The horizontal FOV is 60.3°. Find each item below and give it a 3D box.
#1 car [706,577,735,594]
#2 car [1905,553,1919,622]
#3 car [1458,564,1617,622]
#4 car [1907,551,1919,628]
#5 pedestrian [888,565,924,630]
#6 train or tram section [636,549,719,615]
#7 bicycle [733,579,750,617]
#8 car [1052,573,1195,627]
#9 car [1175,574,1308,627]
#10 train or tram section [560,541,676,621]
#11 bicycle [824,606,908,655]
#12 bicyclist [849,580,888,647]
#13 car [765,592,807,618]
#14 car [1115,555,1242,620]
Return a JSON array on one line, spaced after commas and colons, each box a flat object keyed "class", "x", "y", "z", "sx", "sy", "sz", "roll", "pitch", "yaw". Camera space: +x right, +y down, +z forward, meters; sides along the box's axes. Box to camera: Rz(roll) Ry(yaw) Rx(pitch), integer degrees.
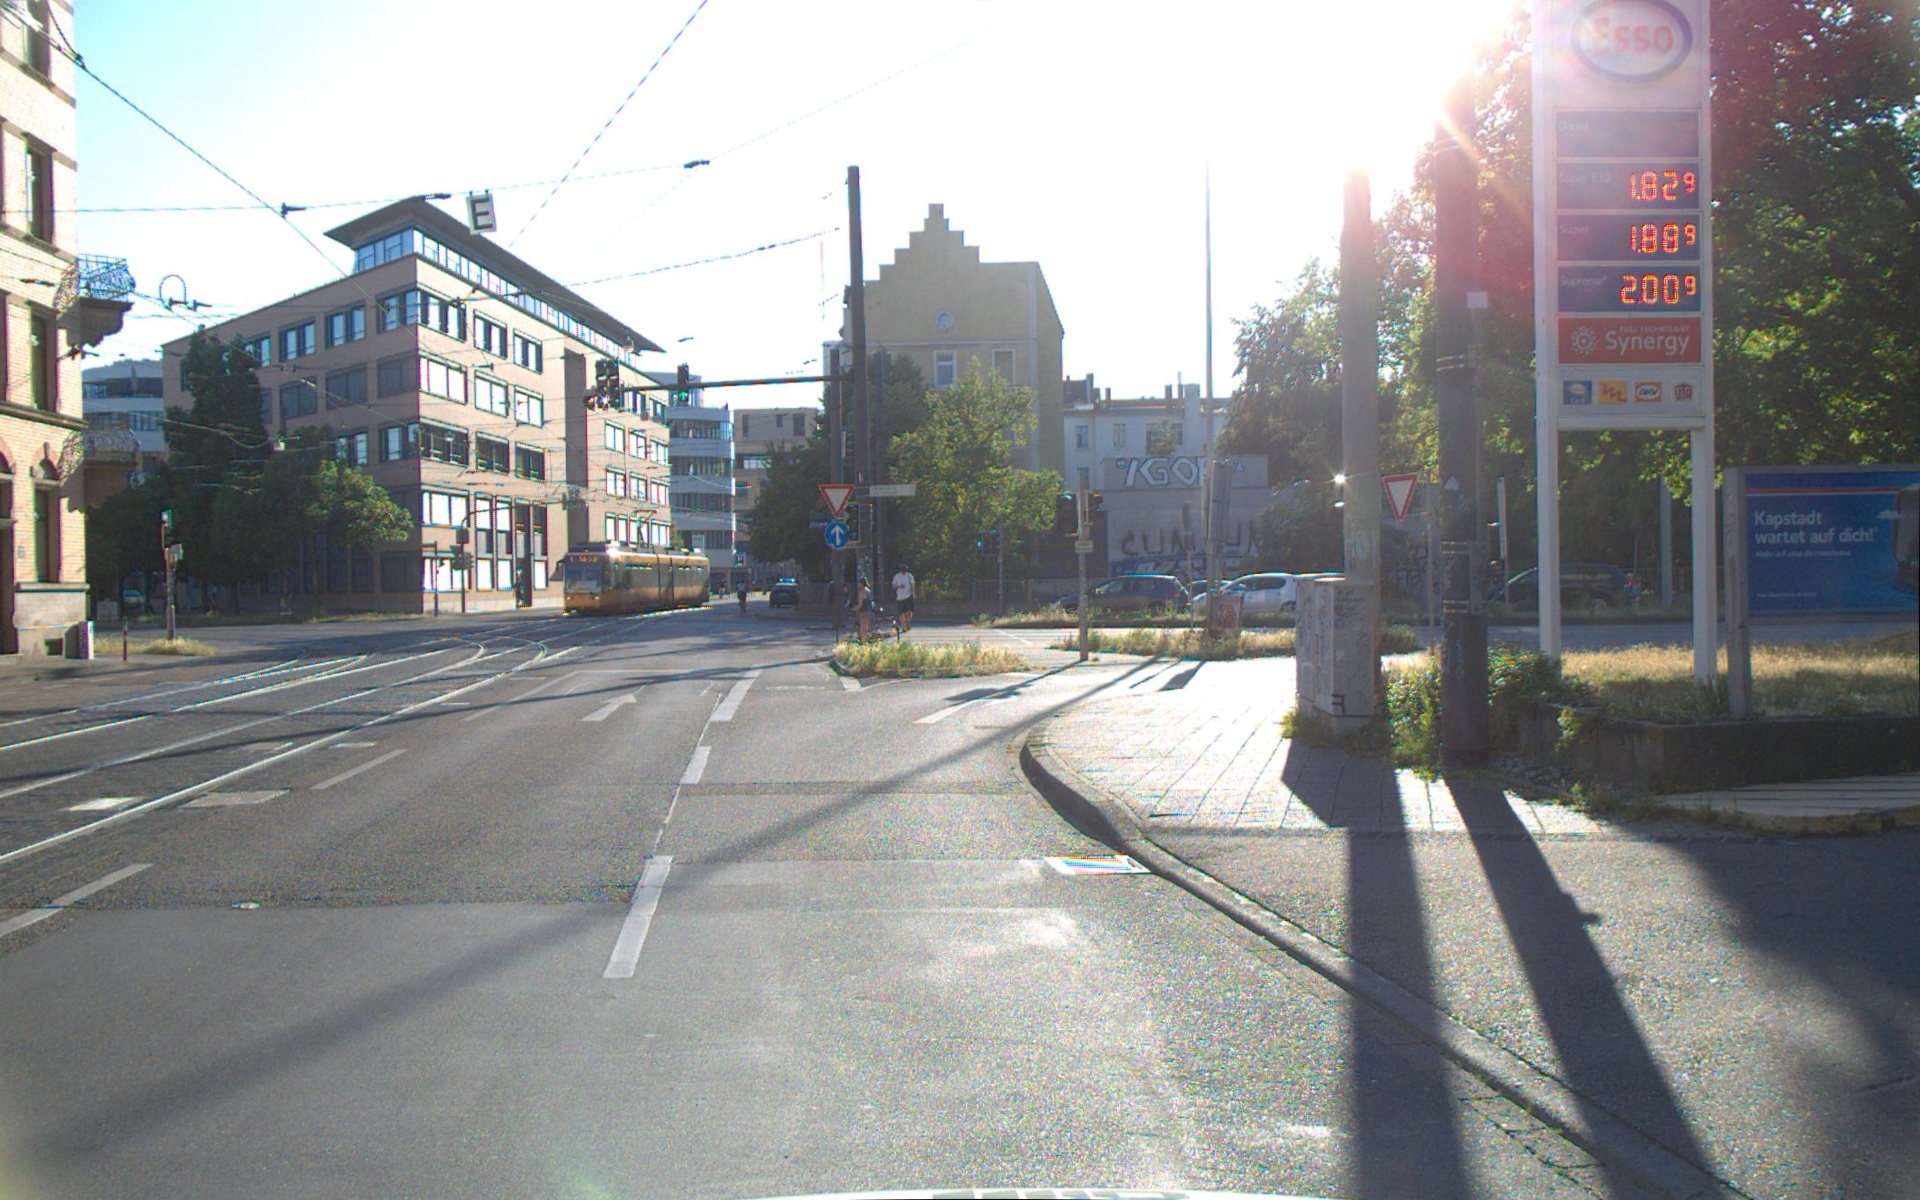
[{"class": "car", "x": -20.878, "y": -1.268, "z": 144.208, "sx": 1.757, "sy": 1.434, "sz": 4.001, "roll": -1, "pitch": 1, "yaw": 2}, {"class": "car", "x": 30.472, "y": -0.419, "z": 48.920, "sx": 3.902, "sy": 2.049, "sz": 1.936, "roll": -1, "pitch": 0, "yaw": 11}, {"class": "car", "x": 15.725, "y": -0.193, "z": 45.203, "sx": 3.902, "sy": 1.478, "sz": 1.688, "roll": -1, "pitch": 0, "yaw": 13}, {"class": "car", "x": 27.419, "y": -0.328, "z": 43.488, "sx": 3.902, "sy": 2.049, "sz": 1.936, "roll": -1, "pitch": 0, "yaw": 11}, {"class": "pedestrian", "x": -1.464, "y": -0.067, "z": 44.943, "sx": 0.907, "sy": 1.721, "sz": 0.778, "roll": -1, "pitch": 0, "yaw": 1}, {"class": "train or tram section", "x": -16.517, "y": -1.054, "z": 97.513, "sx": 2.176, "sy": 3.642, "sz": 12.214, "roll": -1, "pitch": 1, "yaw": 3}, {"class": "bicycle", "x": -10.619, "y": -0.091, "z": 80.394, "sx": 0.553, "sy": 1.838, "sz": 1.359, "roll": -1, "pitch": 0, "yaw": 3}, {"class": "car", "x": 4.824, "y": -0.012, "z": 48.636, "sx": 3.902, "sy": 1.478, "sz": 1.811, "roll": -1, "pitch": 0, "yaw": 16}, {"class": "car", "x": 8.743, "y": -0.001, "z": 51.371, "sx": 3.902, "sy": 1.534, "sz": 1.674, "roll": -1, "pitch": 0, "yaw": 15}, {"class": "train or tram section", "x": -17.148, "y": -0.955, "z": 84.227, "sx": 2.194, "sy": 3.636, "sz": 14.282, "roll": -2, "pitch": 0, "yaw": 3}, {"class": "bicycle", "x": -2.046, "y": 0.660, "z": 36.206, "sx": 1.796, "sy": 1.002, "sz": 0.734, "roll": -2, "pitch": 0, "yaw": -2}, {"class": "bicyclist", "x": -1.997, "y": 0.298, "z": 36.213, "sx": 0.787, "sy": 1.438, "sz": 0.624, "roll": -1, "pitch": 0, "yaw": -2}, {"class": "car", "x": -10.497, "y": 0.295, "z": 99.927, "sx": 1.952, "sy": 1.489, "sz": 4.001, "roll": -2, "pitch": 0, "yaw": 1}, {"class": "car", "x": 7.290, "y": -0.411, "z": 55.030, "sx": 3.902, "sy": 2.049, "sz": 2.001, "roll": -1, "pitch": 0, "yaw": 16}]
